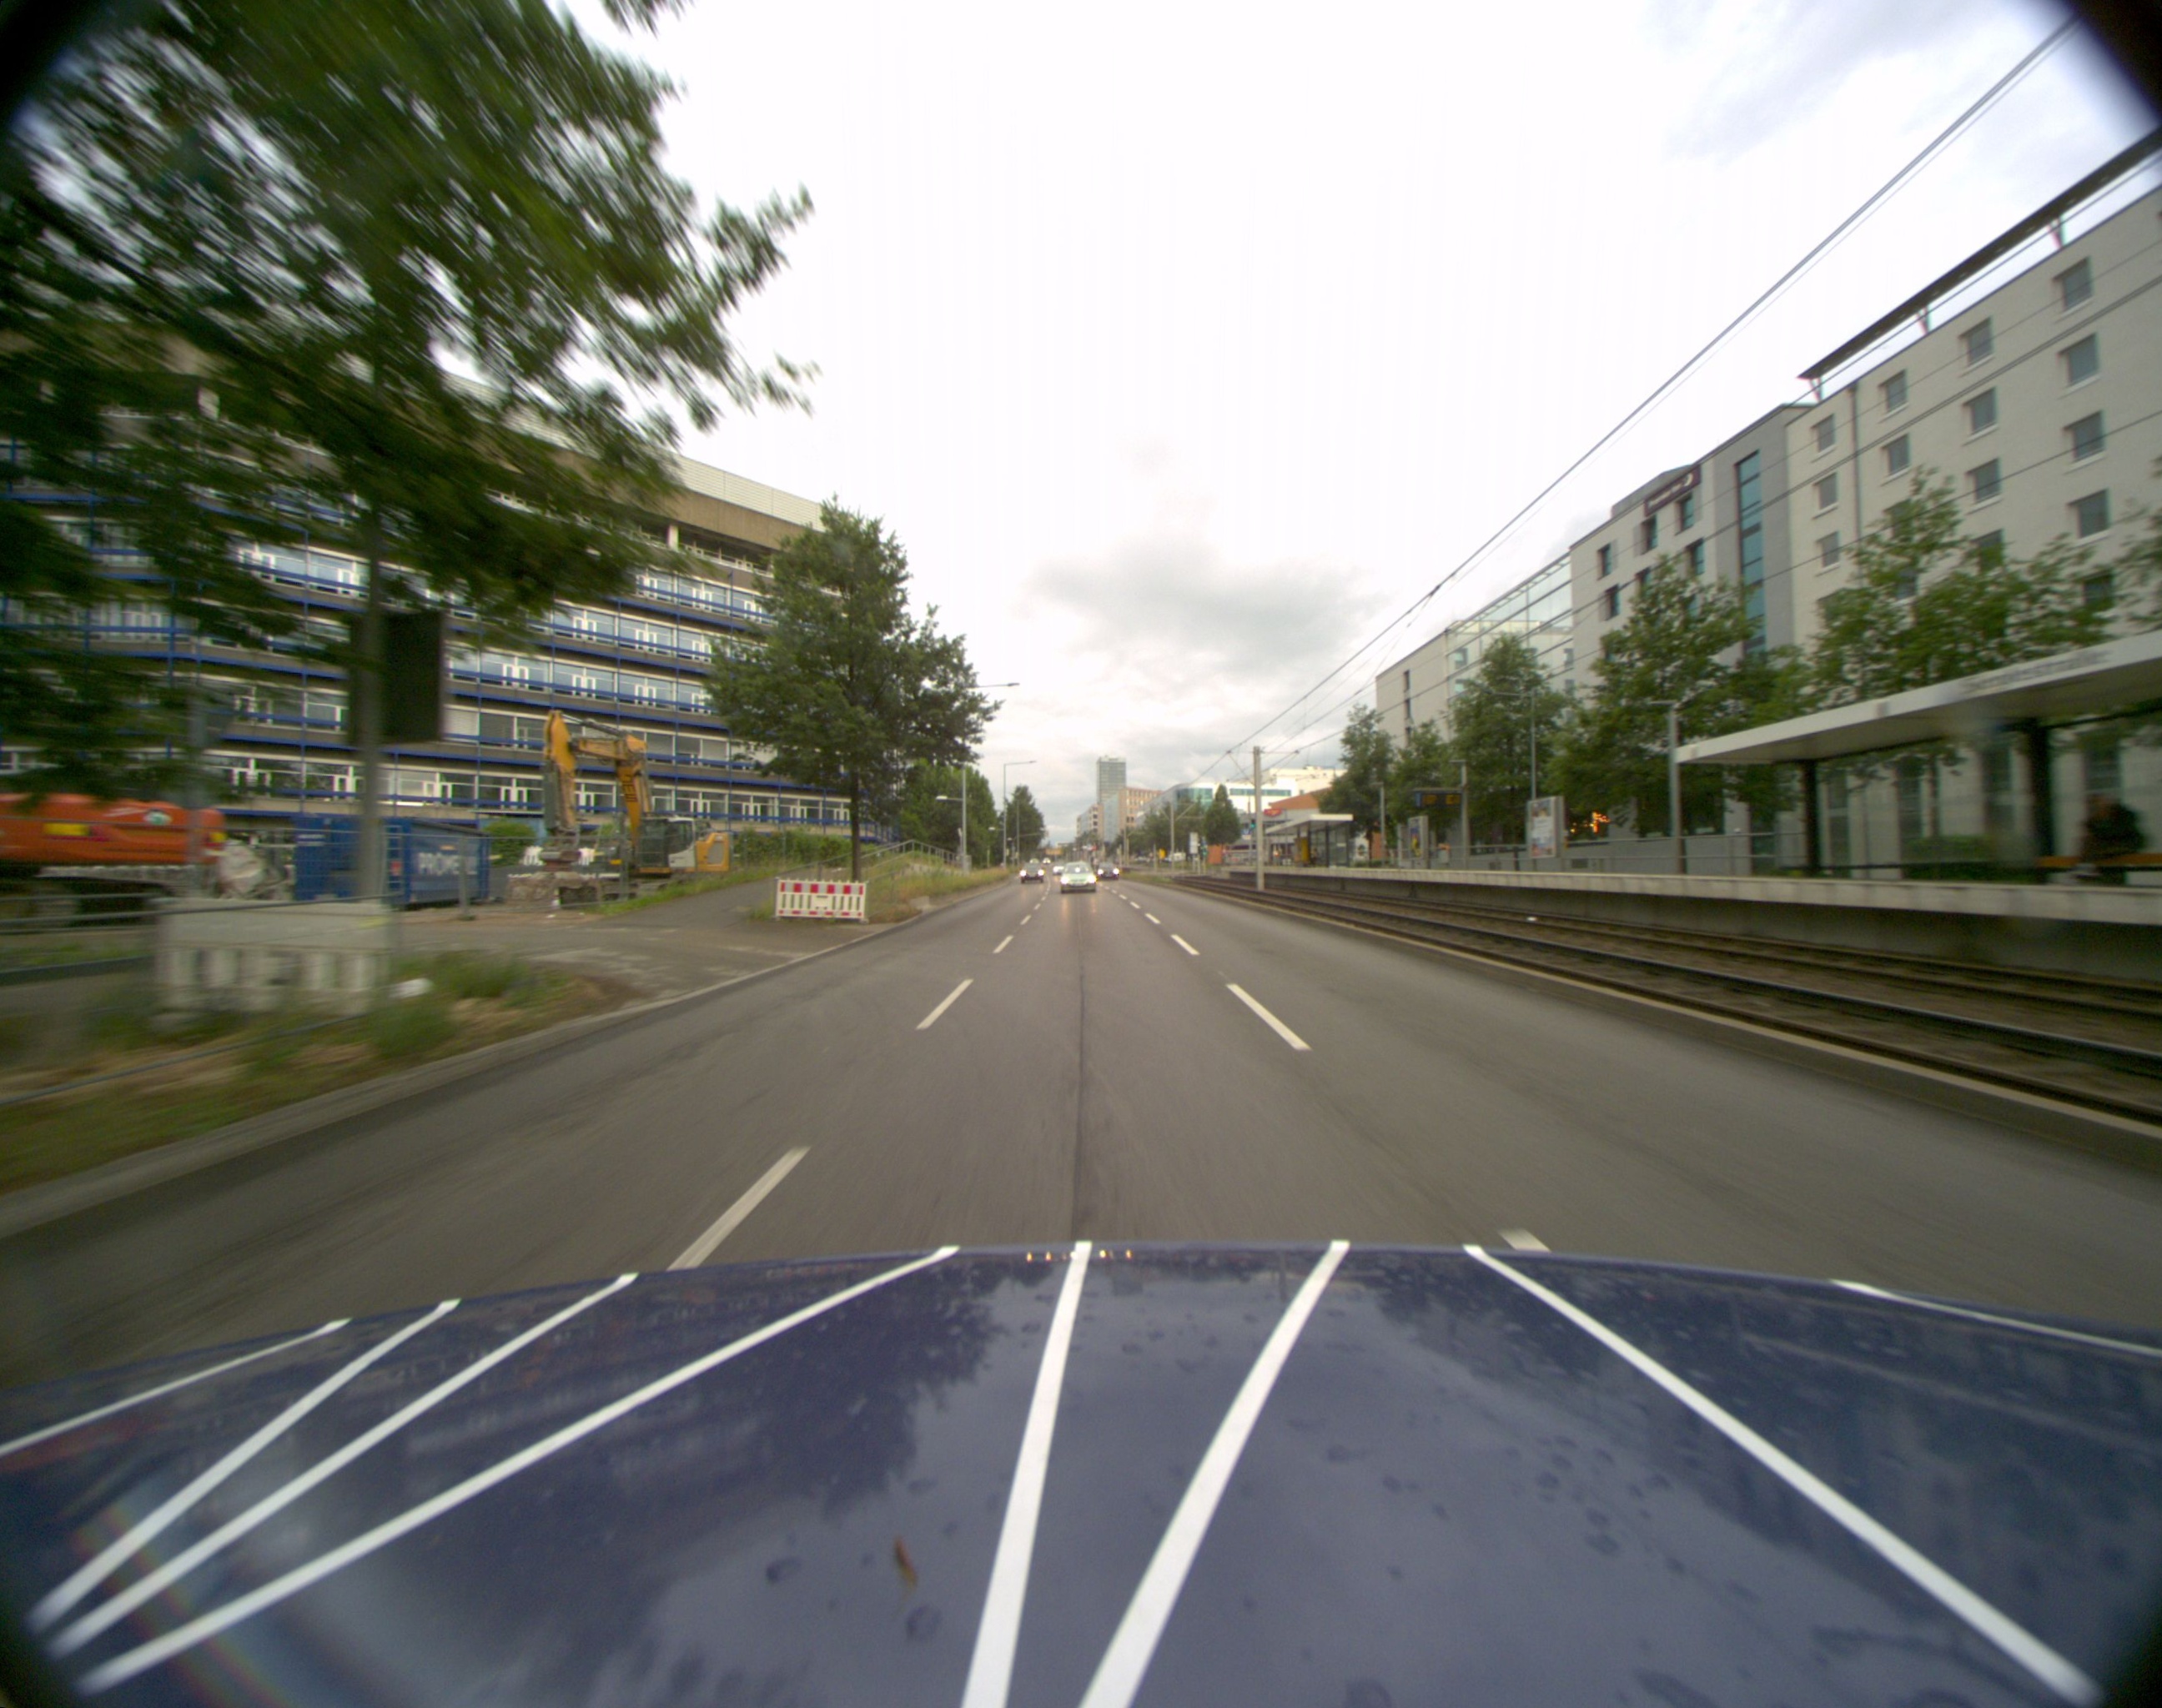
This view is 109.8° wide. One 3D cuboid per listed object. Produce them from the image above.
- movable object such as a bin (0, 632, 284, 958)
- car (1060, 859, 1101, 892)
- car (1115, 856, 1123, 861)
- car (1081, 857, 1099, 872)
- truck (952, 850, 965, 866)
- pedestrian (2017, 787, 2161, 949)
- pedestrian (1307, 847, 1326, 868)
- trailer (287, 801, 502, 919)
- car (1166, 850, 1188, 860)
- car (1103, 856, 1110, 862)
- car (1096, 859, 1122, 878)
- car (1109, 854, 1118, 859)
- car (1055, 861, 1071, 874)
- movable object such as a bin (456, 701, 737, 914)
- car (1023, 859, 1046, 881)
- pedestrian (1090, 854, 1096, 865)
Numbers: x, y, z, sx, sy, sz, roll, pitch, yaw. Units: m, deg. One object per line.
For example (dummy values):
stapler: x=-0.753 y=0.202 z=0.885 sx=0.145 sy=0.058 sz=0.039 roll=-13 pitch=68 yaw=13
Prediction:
movable object such as a bin: x=-22.904 y=-0.930 z=13.896 sx=12.174 sy=5.231 sz=3.788 roll=0 pitch=1 yaw=-2
car: x=-0.065 y=1.037 z=38.390 sx=1.804 sy=1.533 sz=4.373 roll=-2 pitch=0 yaw=-3
car: x=10.383 y=1.190 z=208.103 sx=1.733 sy=1.415 sz=3.778 roll=-1 pitch=0 yaw=-3
car: x=1.080 y=1.284 z=93.235 sx=1.781 sy=1.670 sz=4.129 roll=-2 pitch=0 yaw=-3
truck: x=-19.734 y=0.672 z=122.275 sx=1.751 sy=2.503 sz=3.997 roll=-3 pitch=1 yaw=-6
pedestrian: x=13.776 y=0.155 z=10.072 sx=1.129 sy=2.002 sz=1.270 roll=-2 pitch=1 yaw=1
pedestrian: x=14.449 y=0.197 z=46.643 sx=0.964 sy=1.292 sz=0.684 roll=-1 pitch=0 yaw=-2
trailer: x=-20.728 y=0.150 z=23.563 sx=2.649 sy=3.025 sz=7.483 roll=-3 pitch=1 yaw=-24
car: x=25.779 y=0.294 z=204.254 sx=5.489 sy=2.614 sz=2.275 roll=-3 pitch=1 yaw=-20
car: x=8.116 y=1.704 z=244.044 sx=1.999 sy=1.764 sz=4.387 roll=-1 pitch=0 yaw=-3
car: x=2.262 y=1.183 z=62.957 sx=1.799 sy=1.493 sz=3.999 roll=-2 pitch=0 yaw=-2
car: x=9.698 y=0.844 z=226.883 sx=1.859 sy=1.419 sz=4.386 roll=1 pitch=0 yaw=-5
car: x=-2.246 y=1.636 z=94.518 sx=1.781 sy=1.551 sz=3.739 roll=-2 pitch=0 yaw=-3
movable object such as a bin: x=-15.157 y=-1.301 z=25.043 sx=3.298 sy=5.652 sz=8.762 roll=-2 pitch=1 yaw=0
car: x=-3.785 y=1.246 z=62.028 sx=1.816 sy=1.660 sz=4.547 roll=-2 pitch=0 yaw=-3
pedestrian: x=1.948 y=0.905 z=120.948 sx=0.704 sy=1.641 sz=0.648 roll=-2 pitch=0 yaw=-31
